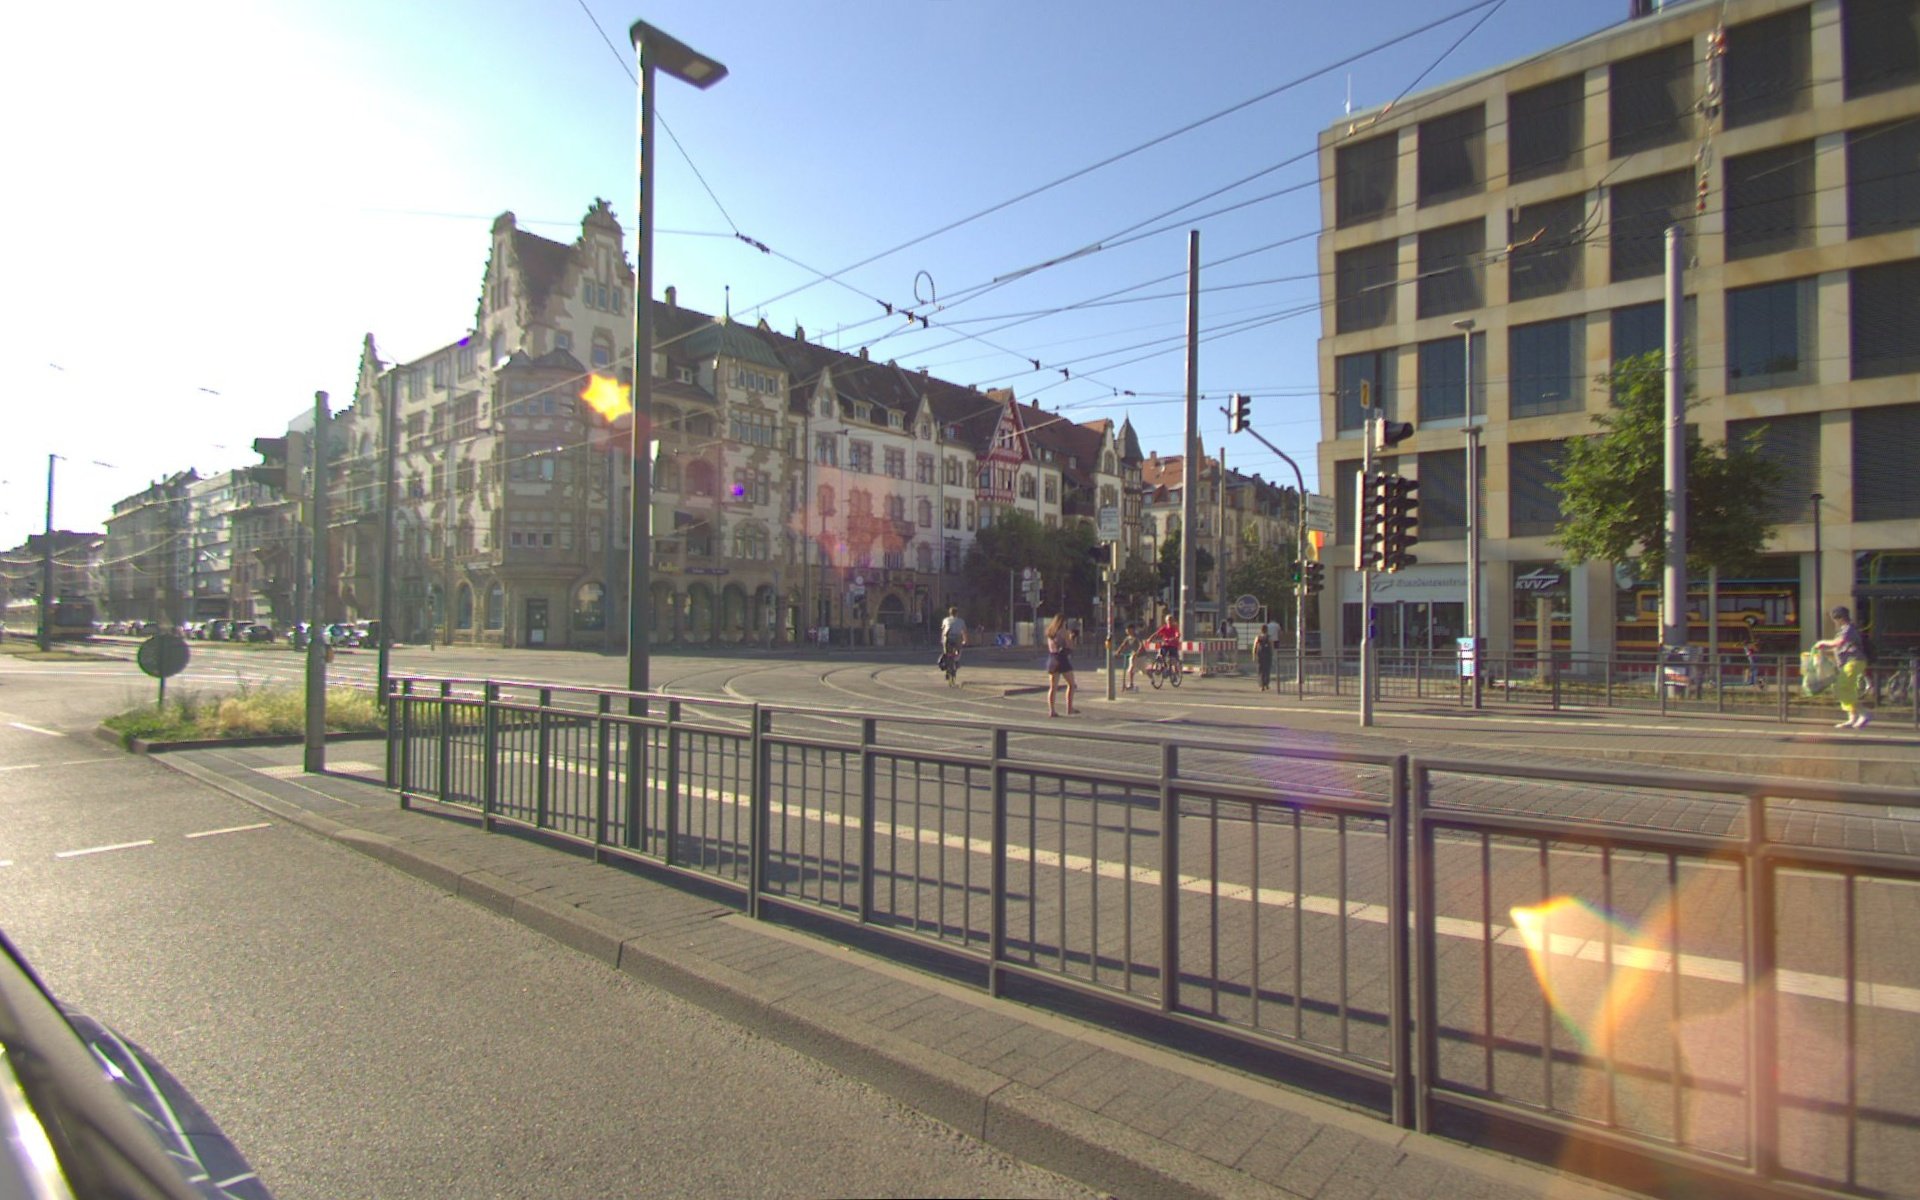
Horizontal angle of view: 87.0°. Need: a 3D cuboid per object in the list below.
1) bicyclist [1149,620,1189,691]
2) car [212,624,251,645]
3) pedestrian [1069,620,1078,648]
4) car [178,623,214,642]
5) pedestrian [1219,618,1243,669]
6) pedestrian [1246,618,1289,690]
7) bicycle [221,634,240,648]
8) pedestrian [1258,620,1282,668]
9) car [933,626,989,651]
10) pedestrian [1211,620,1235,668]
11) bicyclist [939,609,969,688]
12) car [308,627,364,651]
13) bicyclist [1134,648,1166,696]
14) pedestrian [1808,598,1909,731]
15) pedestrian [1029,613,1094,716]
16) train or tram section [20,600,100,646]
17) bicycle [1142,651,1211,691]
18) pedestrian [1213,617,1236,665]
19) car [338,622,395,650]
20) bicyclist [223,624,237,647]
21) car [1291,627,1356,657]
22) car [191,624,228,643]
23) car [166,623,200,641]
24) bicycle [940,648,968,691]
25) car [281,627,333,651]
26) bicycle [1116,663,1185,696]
[{"bbox_3d":[4.919,1.294,23.856,0.620,1.631,0.685,2,-2,-40],"label":"bicyclist"},{"bbox_3d":[-57.358,2.711,79.652,3.999,1.536,1.718,-1,-1,42],"label":"car"},{"bbox_3d":[7.141,2.135,63.680,0.576,1.695,0.615,0,-2,9],"label":"pedestrian"},{"bbox_3d":[-65.904,2.788,87.271,3.999,1.536,1.718,-1,-1,42],"label":"car"},{"bbox_3d":[9.120,1.461,34.106,0.582,1.695,0.609,-1,-2,39],"label":"pedestrian"},{"bbox_3d":[7.224,1.257,23.760,0.793,1.657,0.924,-1,-2,28],"label":"pedestrian"},{"bbox_3d":[-51.914,2.906,71.996,2.067,1.010,0.600,-1,-2,39],"label":"bicycle"},{"bbox_3d":[11.118,1.563,36.287,0.607,1.695,0.583,2,-3,-43],"label":"pedestrian"},{"bbox_3d":[0.087,2.574,68.128,1.725,1.586,3.948,-1,-2,38],"label":"car"},{"bbox_3d":[9.505,1.579,36.582,0.639,1.695,0.609,-1,-2,38],"label":"pedestrian"},{"bbox_3d":[-0.144,1.134,23.696,0.637,1.821,0.669,0,-2,-7],"label":"bicyclist"},{"bbox_3d":[-40.171,2.511,65.138,4.428,1.487,1.706,-1,-2,39],"label":"car"},{"bbox_3d":[4.113,1.549,21.887,0.456,1.001,0.512,2,-2,-39],"label":"bicyclist"},{"bbox_3d":[11.708,0.814,13.199,0.933,1.657,0.785,-2,-2,43],"label":"pedestrian"},{"bbox_3d":[1.692,1.051,16.842,0.793,1.657,0.924,-1,-2,28],"label":"pedestrian"},{"bbox_3d":[-74.896,2.011,84.005,19.466,3.425,2.745,-2,-2,42],"label":"train or tram section"},{"bbox_3d":[5.181,1.671,24.148,1.861,0.885,0.609,2,-2,-40],"label":"bicycle"},{"bbox_3d":[9.355,1.449,35.795,0.582,1.695,0.609,-1,-2,39],"label":"pedestrian"},{"bbox_3d":[-36.175,2.191,61.664,3.997,1.682,1.758,-1,-2,40],"label":"car"},{"bbox_3d":[-51.963,2.543,72.040,0.630,1.631,0.675,-1,-2,40],"label":"bicyclist"},{"bbox_3d":[18.560,2.114,51.576,1.889,1.475,3.947,-1,-2,39],"label":"car"},{"bbox_3d":[-62.047,2.751,83.639,3.999,1.536,1.718,-1,-1,42],"label":"car"},{"bbox_3d":[-69.424,2.819,90.385,3.999,1.536,1.718,-1,-1,42],"label":"car"},{"bbox_3d":[-0.152,1.619,23.876,0.506,0.918,1.891,1,-2,-4],"label":"bicycle"},{"bbox_3d":[-44.295,2.600,68.622,3.993,1.536,1.721,-1,-1,37],"label":"car"},{"bbox_3d":[4.130,1.705,21.883,1.699,0.613,0.513,1,-1,-40],"label":"bicycle"}]
